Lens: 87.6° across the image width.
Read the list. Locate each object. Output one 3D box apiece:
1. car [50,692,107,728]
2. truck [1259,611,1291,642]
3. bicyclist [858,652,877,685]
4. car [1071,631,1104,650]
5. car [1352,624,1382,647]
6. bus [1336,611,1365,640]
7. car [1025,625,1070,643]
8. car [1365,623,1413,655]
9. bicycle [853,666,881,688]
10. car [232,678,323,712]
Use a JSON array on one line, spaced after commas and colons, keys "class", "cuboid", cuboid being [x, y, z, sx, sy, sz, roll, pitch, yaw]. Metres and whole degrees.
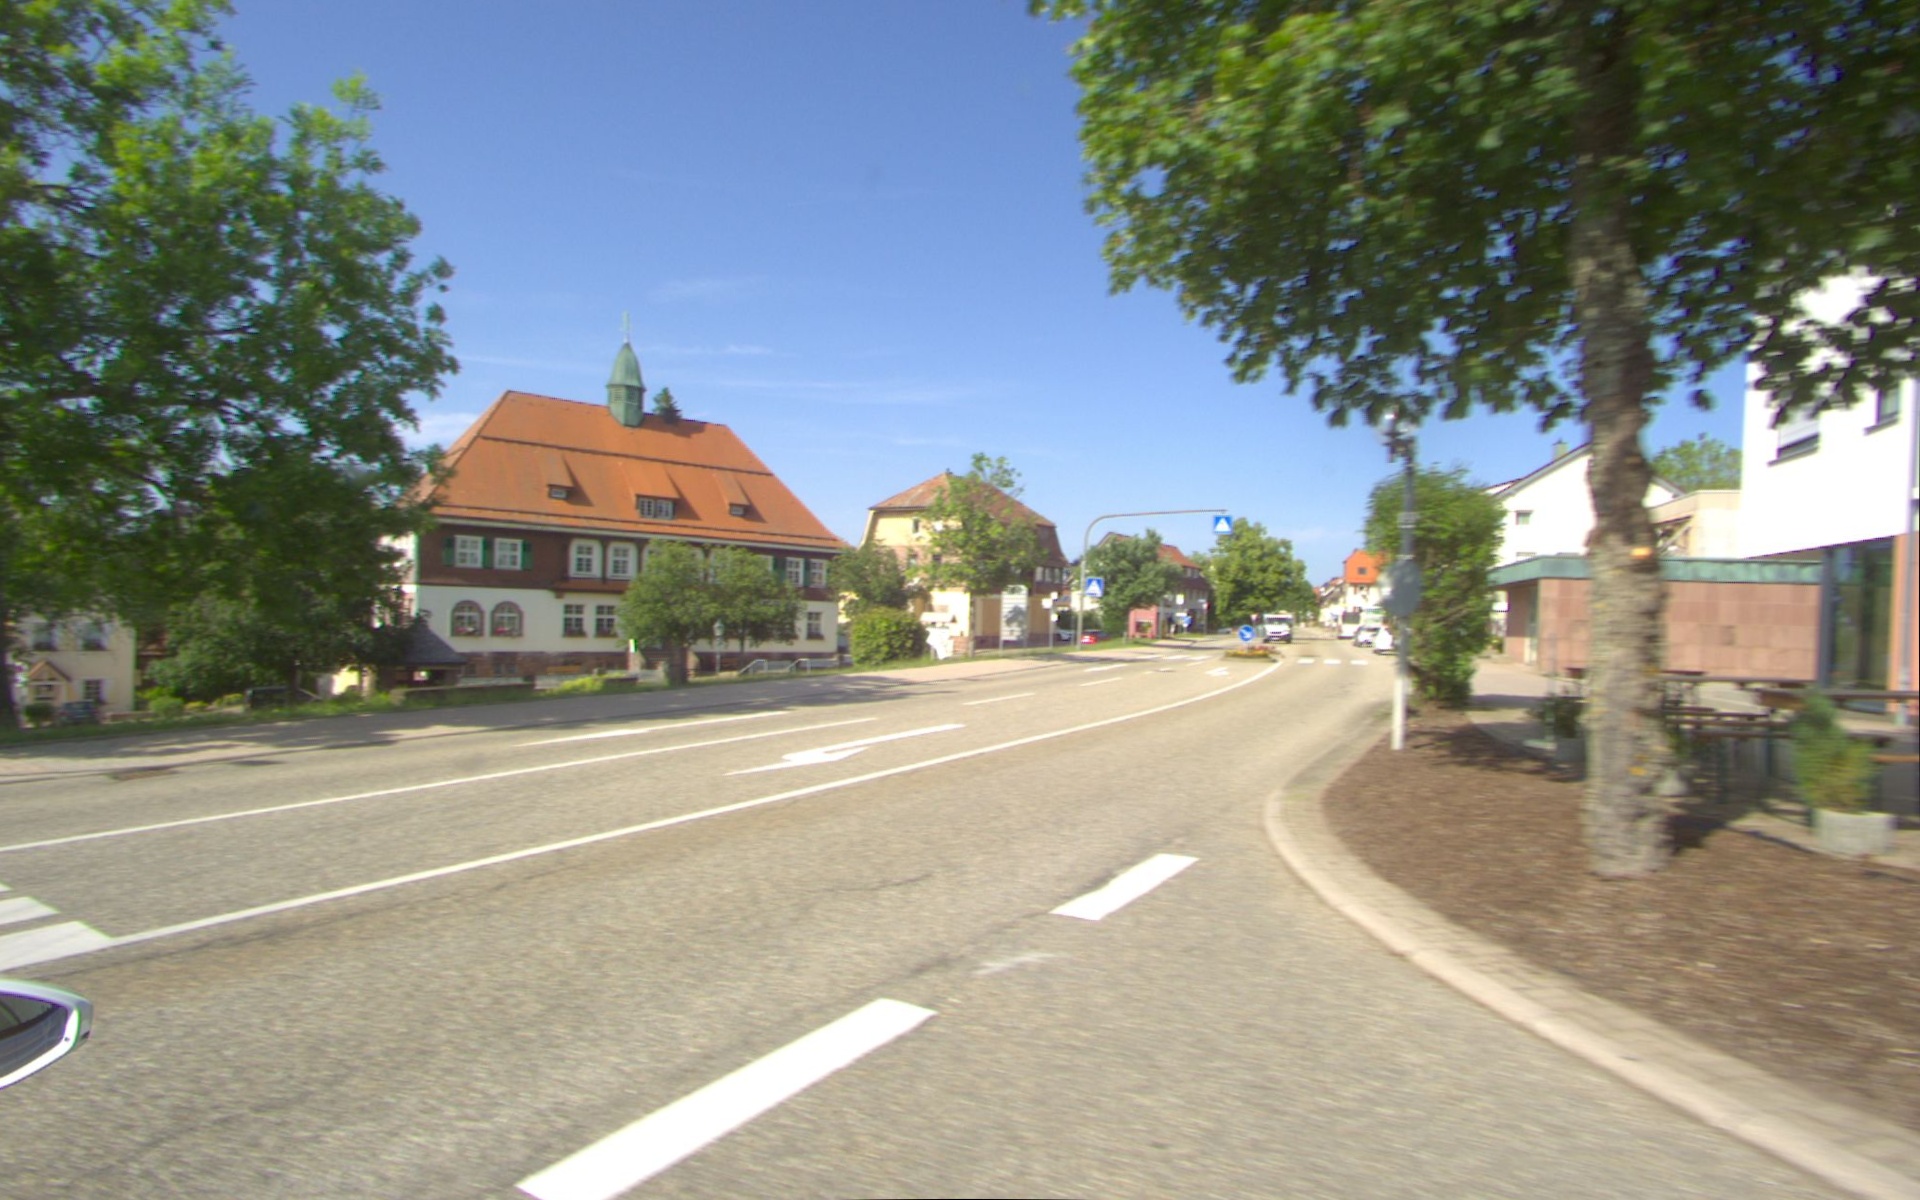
[{"class": "car", "cuboid": [-44.524, 5.505, 50.575, 3.744, 1.561, 1.699, -3, -2, 42]}, {"class": "truck", "cuboid": [25.141, 2.090, 79.714, 1.966, 2.372, 6.479, 0, -1, 22]}, {"class": "bicyclist", "cuboid": [-5.593, 4.124, 60.394, 0.576, 1.950, 0.988, -2, -1, 45]}, {"class": "car", "cuboid": [10.239, 3.244, 80.212, 1.747, 1.451, 3.705, -3, -2, 22]}, {"class": "car", "cuboid": [27.669, 2.404, 68.106, 1.746, 1.451, 3.706, -3, -2, 21]}, {"class": "bus", "cuboid": [46.057, 3.106, 118.338, 2.670, 3.052, 15.202, 0, -3, 20]}, {"class": "car", "cuboid": [7.963, 3.091, 91.004, 3.653, 1.451, 1.771, -3, -2, 24]}, {"class": "car", "cuboid": [21.688, 1.960, 50.736, 1.744, 1.486, 3.710, -2, -2, 16]}, {"class": "bicycle", "cuboid": [-5.594, 4.623, 60.380, 0.533, 1.205, 1.712, -3, -2, 44]}, {"class": "car", "cuboid": [-35.548, 4.926, 52.212, 3.743, 1.463, 1.700, -1, -2, -41]}]
